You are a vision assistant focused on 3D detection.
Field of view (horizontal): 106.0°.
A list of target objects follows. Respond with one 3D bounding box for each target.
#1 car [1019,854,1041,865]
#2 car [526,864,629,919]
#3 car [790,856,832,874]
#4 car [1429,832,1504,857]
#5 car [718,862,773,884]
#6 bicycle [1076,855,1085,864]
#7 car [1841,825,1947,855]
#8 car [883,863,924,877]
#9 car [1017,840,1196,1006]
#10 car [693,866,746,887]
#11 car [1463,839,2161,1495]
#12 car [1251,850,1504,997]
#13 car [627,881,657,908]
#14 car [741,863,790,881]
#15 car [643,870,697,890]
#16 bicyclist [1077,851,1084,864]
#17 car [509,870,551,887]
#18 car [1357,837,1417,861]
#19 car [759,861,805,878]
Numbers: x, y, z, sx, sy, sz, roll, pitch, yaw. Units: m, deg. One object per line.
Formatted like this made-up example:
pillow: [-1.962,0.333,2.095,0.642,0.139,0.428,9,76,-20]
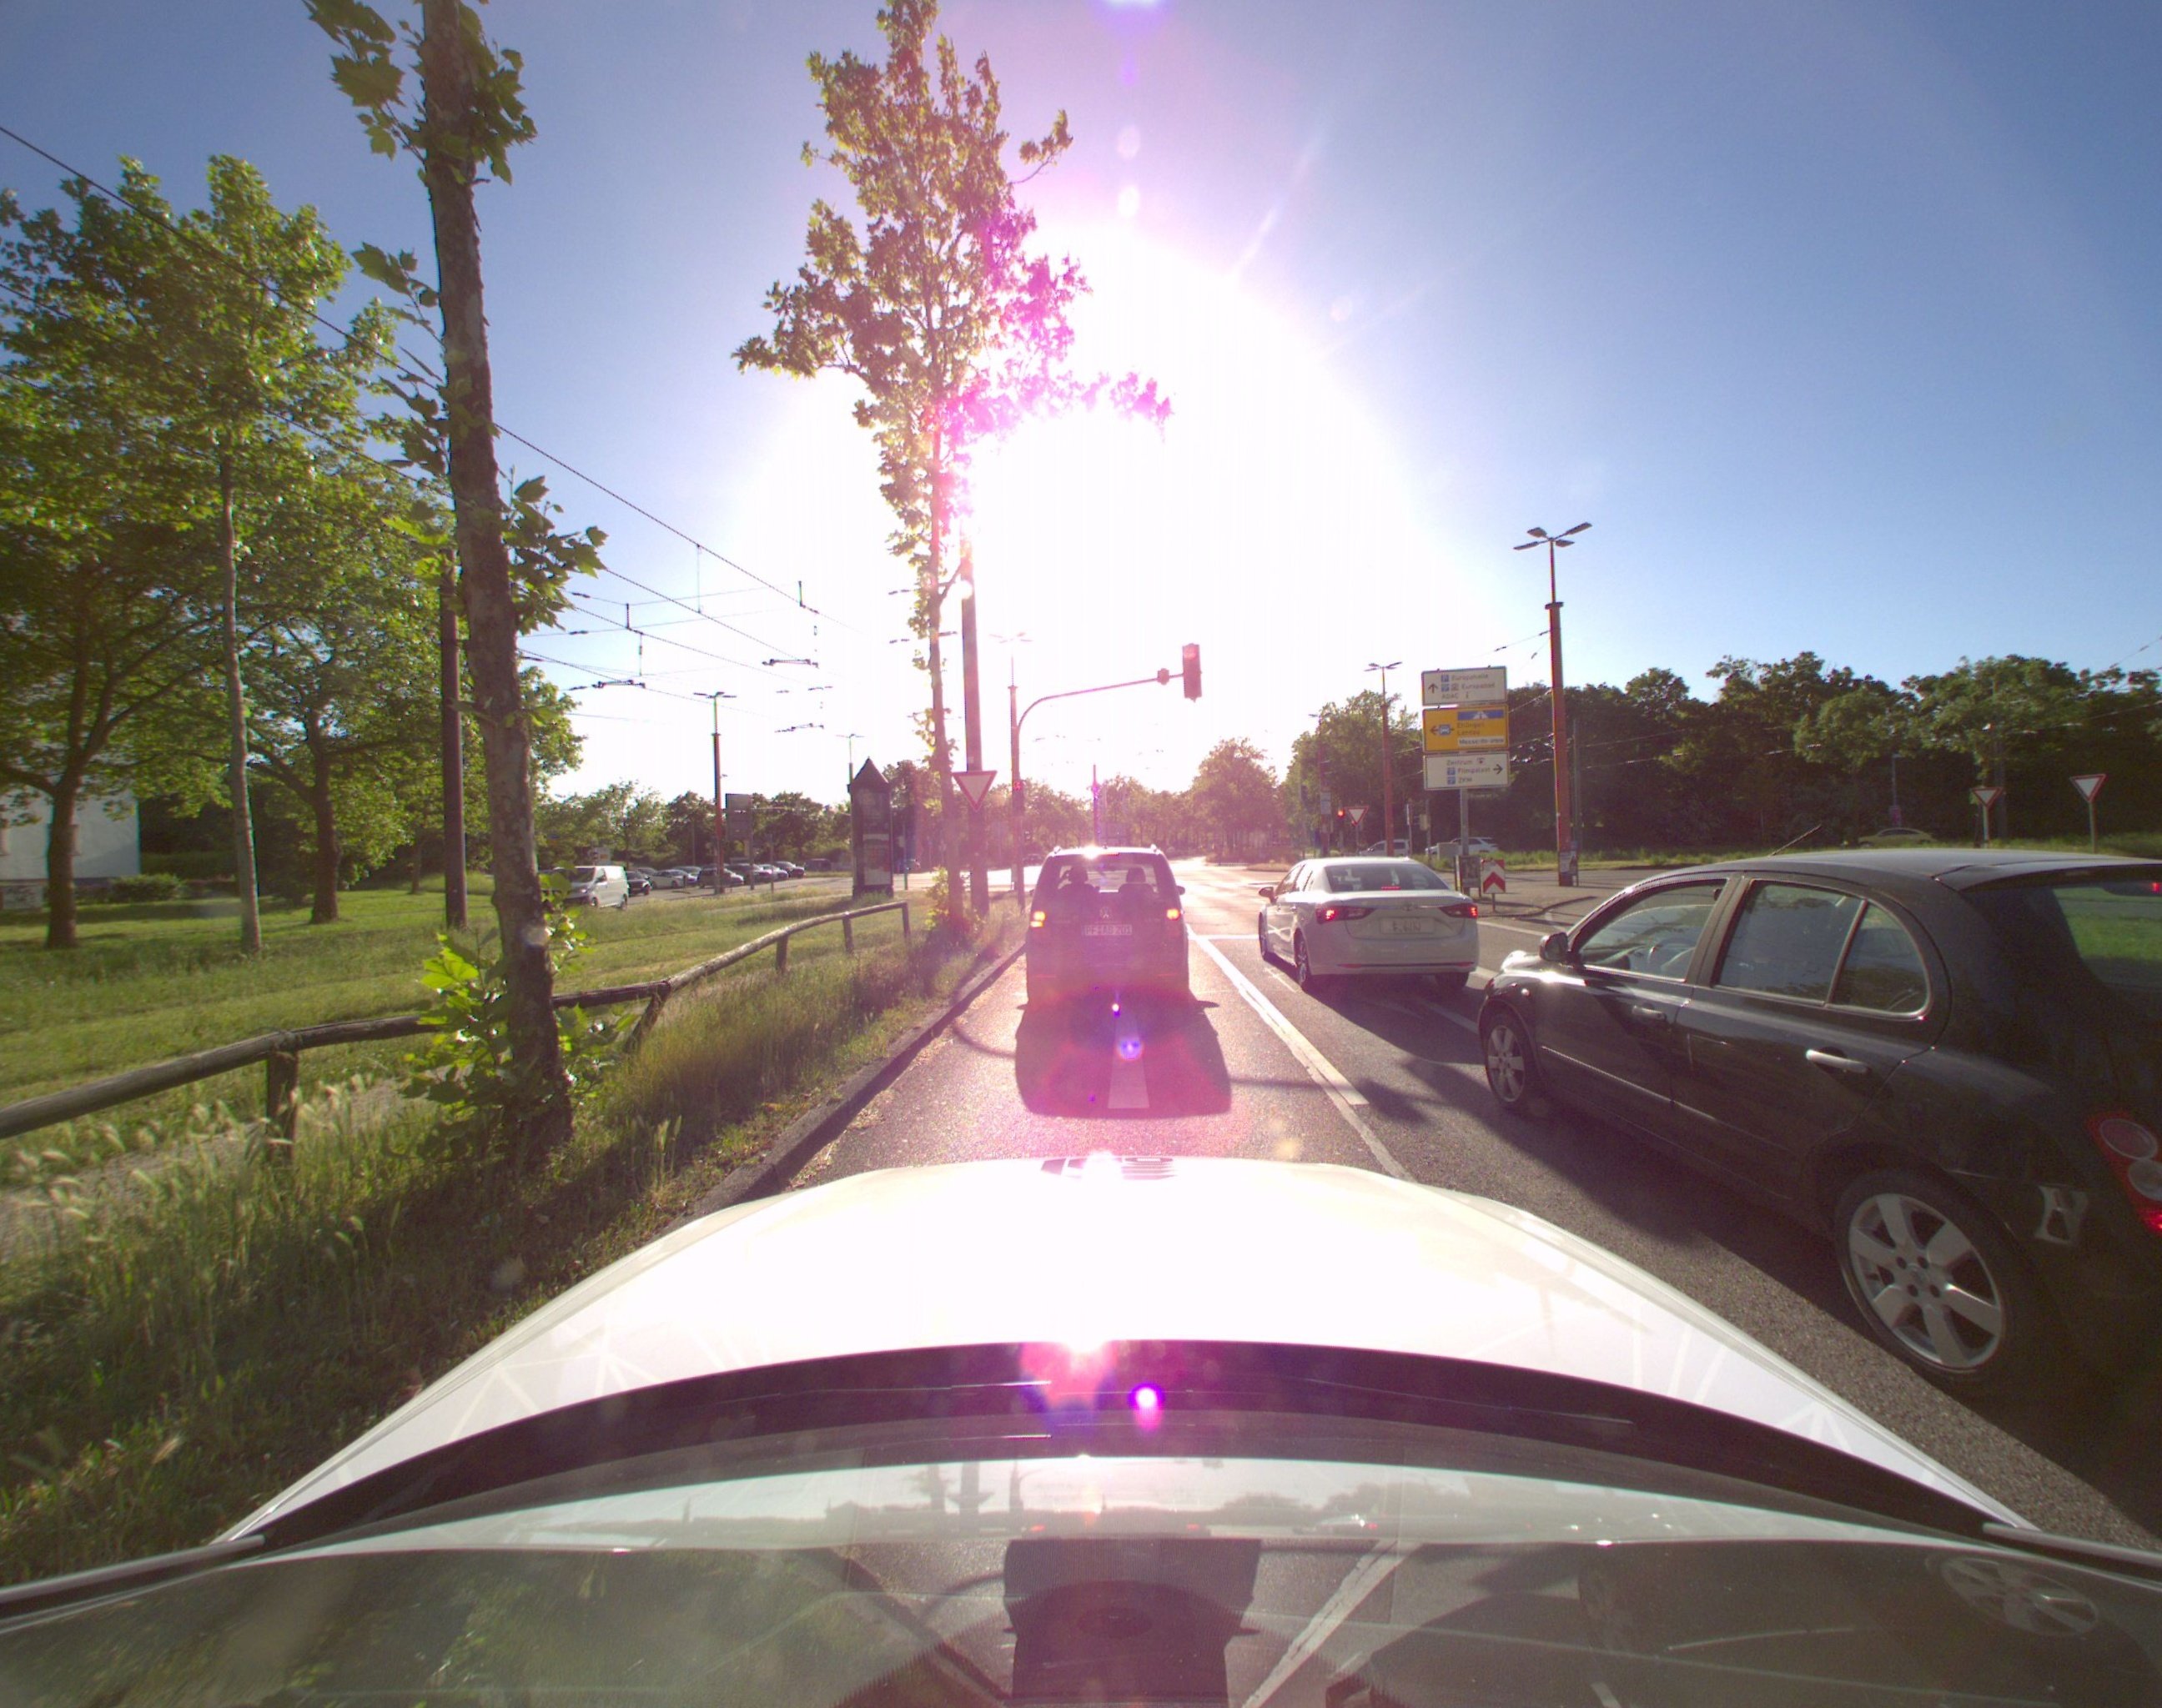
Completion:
car: [-7.059,0.790,112.610,1.638,1.403,4.150,-1,0,17]
car: [-18.873,1.330,30.805,1.829,1.821,4.880,-1,0,-13]
car: [-28.708,1.150,86.501,4.081,1.791,1.809,-1,0,26]
car: [27.143,-0.640,57.368,4.616,1.625,1.667,-1,0,28]
car: [-26.930,1.515,65.357,4.583,1.647,1.667,-1,0,32]
bicycle: [-0.073,0.880,129.586,0.970,1.388,2.988,-1,0,11]
car: [48.830,-0.814,49.012,4.164,1.681,1.667,-1,0,28]
car: [-18.925,1.680,86.613,4.080,1.403,1.666,-1,0,27]
car: [0.360,0.688,10.090,1.731,1.602,4.329,0,-1,3]
car: [-27.334,1.693,61.575,3.793,1.441,1.667,-1,0,29]
car: [3.174,0.694,3.496,1.570,1.440,3.443,0,-1,2]
car: [3.367,0.708,10.194,1.792,1.440,4.329,0,0,3]
car: [-29.616,2.721,55.025,1.660,1.618,4.256,-1,0,-27]
car: [-26.837,1.522,69.194,4.102,1.415,1.553,-1,0,28]
car: [-32.669,2.072,64.740,4.577,1.520,1.667,-1,0,32]
bicyclist: [-0.072,0.546,129.628,0.970,1.904,1.054,-1,0,10]
car: [-51.130,2.257,75.529,4.145,1.520,1.667,-1,0,32]
car: [23.603,-0.409,62.847,4.080,1.750,1.667,-1,0,27]
car: [-26.734,1.380,72.818,4.102,1.415,1.553,-1,0,28]
